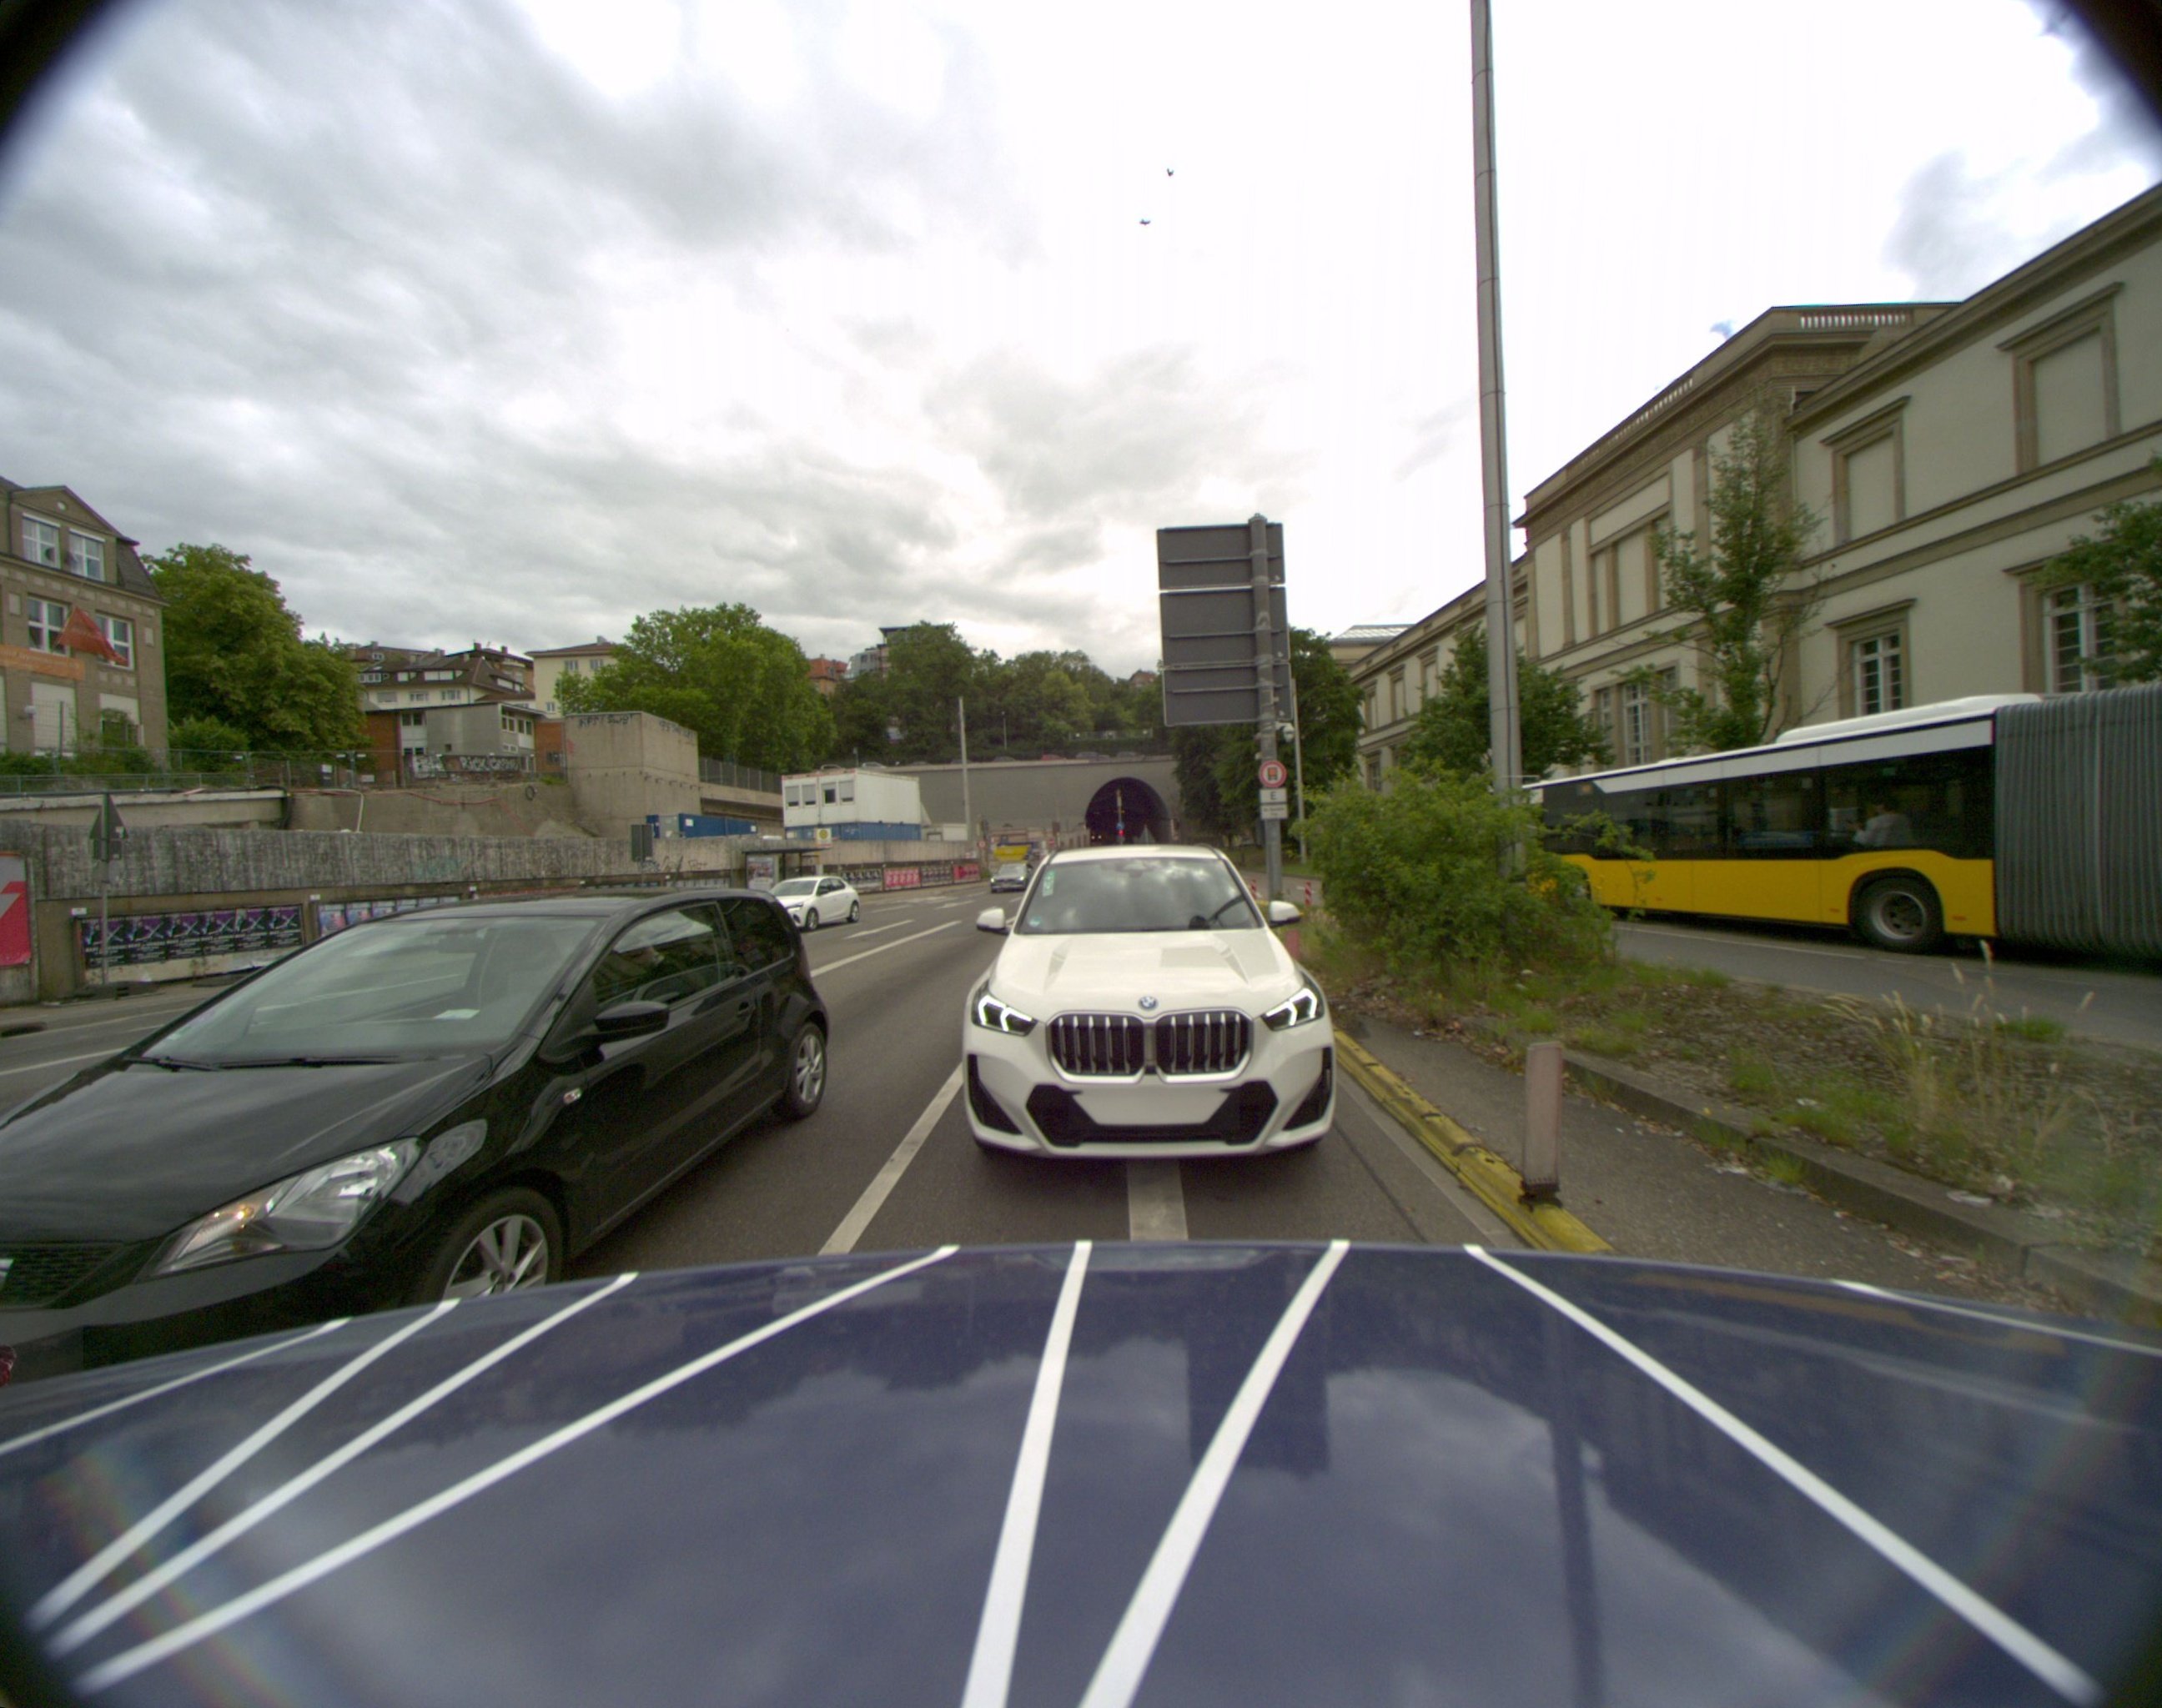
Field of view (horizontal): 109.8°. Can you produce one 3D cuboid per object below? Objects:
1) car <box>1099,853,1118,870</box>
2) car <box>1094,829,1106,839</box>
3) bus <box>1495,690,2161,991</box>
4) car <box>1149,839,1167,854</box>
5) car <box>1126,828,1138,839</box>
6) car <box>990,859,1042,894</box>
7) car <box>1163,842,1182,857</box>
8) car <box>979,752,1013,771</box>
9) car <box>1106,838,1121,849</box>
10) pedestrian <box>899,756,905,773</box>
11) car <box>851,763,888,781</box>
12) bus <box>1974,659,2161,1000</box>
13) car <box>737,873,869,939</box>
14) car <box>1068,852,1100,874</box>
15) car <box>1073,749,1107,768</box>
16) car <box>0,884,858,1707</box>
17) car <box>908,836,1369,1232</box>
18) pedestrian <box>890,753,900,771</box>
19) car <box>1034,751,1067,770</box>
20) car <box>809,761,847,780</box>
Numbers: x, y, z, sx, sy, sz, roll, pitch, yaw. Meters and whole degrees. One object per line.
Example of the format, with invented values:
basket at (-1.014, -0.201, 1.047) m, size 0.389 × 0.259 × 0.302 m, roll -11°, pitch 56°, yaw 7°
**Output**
car at (2.749, 0.701, 75.858) m, size 1.705 × 1.550 × 4.550 m, roll -3°, pitch 0°, yaw 1°
car at (3.281, -3.427, 129.903) m, size 1.730 × 1.435 × 4.001 m, roll -3°, pitch 0°, yaw 5°
bus at (11.201, -0.178, 12.901) m, size 2.853 × 3.096 × 9.747 m, roll -3°, pitch 0°, yaw 0°
car at (8.372, -0.832, 83.292) m, size 1.667 × 1.582 × 3.882 m, roll -1°, pitch 0°, yaw 2°
car at (7.633, -3.101, 114.343) m, size 1.667 × 1.582 × 3.882 m, roll -1°, pitch 0°, yaw 2°
car at (-3.378, 1.138, 40.272) m, size 1.825 × 1.562 × 4.656 m, roll -3°, pitch 0°, yaw 6°
car at (9.964, -0.483, 83.002) m, size 1.539 × 1.542 × 2.823 m, roll -2°, pitch 0°, yaw -2°
car at (-10.477, -11.398, 94.011) m, size 3.998 × 2.002 × 1.999 m, roll -2°, pitch 1°, yaw -2°
car at (3.988, -1.273, 94.443) m, size 1.728 × 1.310 × 4.000 m, roll -3°, pitch 0°, yaw 1°
pedestrian at (-22.296, -11.104, 94.572) m, size 0.581 × 2.002 × 0.577 m, roll -2°, pitch 1°, yaw -3°
car at (-26.007, -10.066, 93.378) m, size 3.998 × 2.002 × 1.999 m, roll -2°, pitch 1°, yaw -5°
bus at (11.179, -0.271, 3.748) m, size 2.852 × 3.096 × 9.122 m, roll -3°, pitch 0°, yaw 1°
car at (-7.562, 1.368, 21.122) m, size 1.663 × 1.471 × 4.002 m, roll -3°, pitch 0°, yaw 8°
car at (0.269, 0.694, 60.392) m, size 1.703 × 1.550 × 4.554 m, roll -3°, pitch 0°, yaw 11°
car at (1.107, -11.828, 94.489) m, size 3.998 × 2.002 × 1.999 m, roll -2°, pitch 1°, yaw -2°
car at (-2.502, 1.002, 3.414) m, size 1.667 × 1.487 × 3.882 m, roll -3°, pitch 0°, yaw 2°
car at (0.301, 0.755, 5.116) m, size 1.848 × 1.581 × 3.882 m, roll -3°, pitch 0°, yaw 2°
pedestrian at (-22.157, -10.976, 90.535) m, size 0.851 × 2.002 × 0.905 m, roll -3°, pitch 1°, yaw -3°
car at (-3.771, -11.648, 94.406) m, size 3.998 × 2.002 × 1.999 m, roll -2°, pitch 1°, yaw -2°
car at (-31.057, -10.252, 93.314) m, size 3.998 × 2.002 × 1.999 m, roll -2°, pitch 1°, yaw -5°
